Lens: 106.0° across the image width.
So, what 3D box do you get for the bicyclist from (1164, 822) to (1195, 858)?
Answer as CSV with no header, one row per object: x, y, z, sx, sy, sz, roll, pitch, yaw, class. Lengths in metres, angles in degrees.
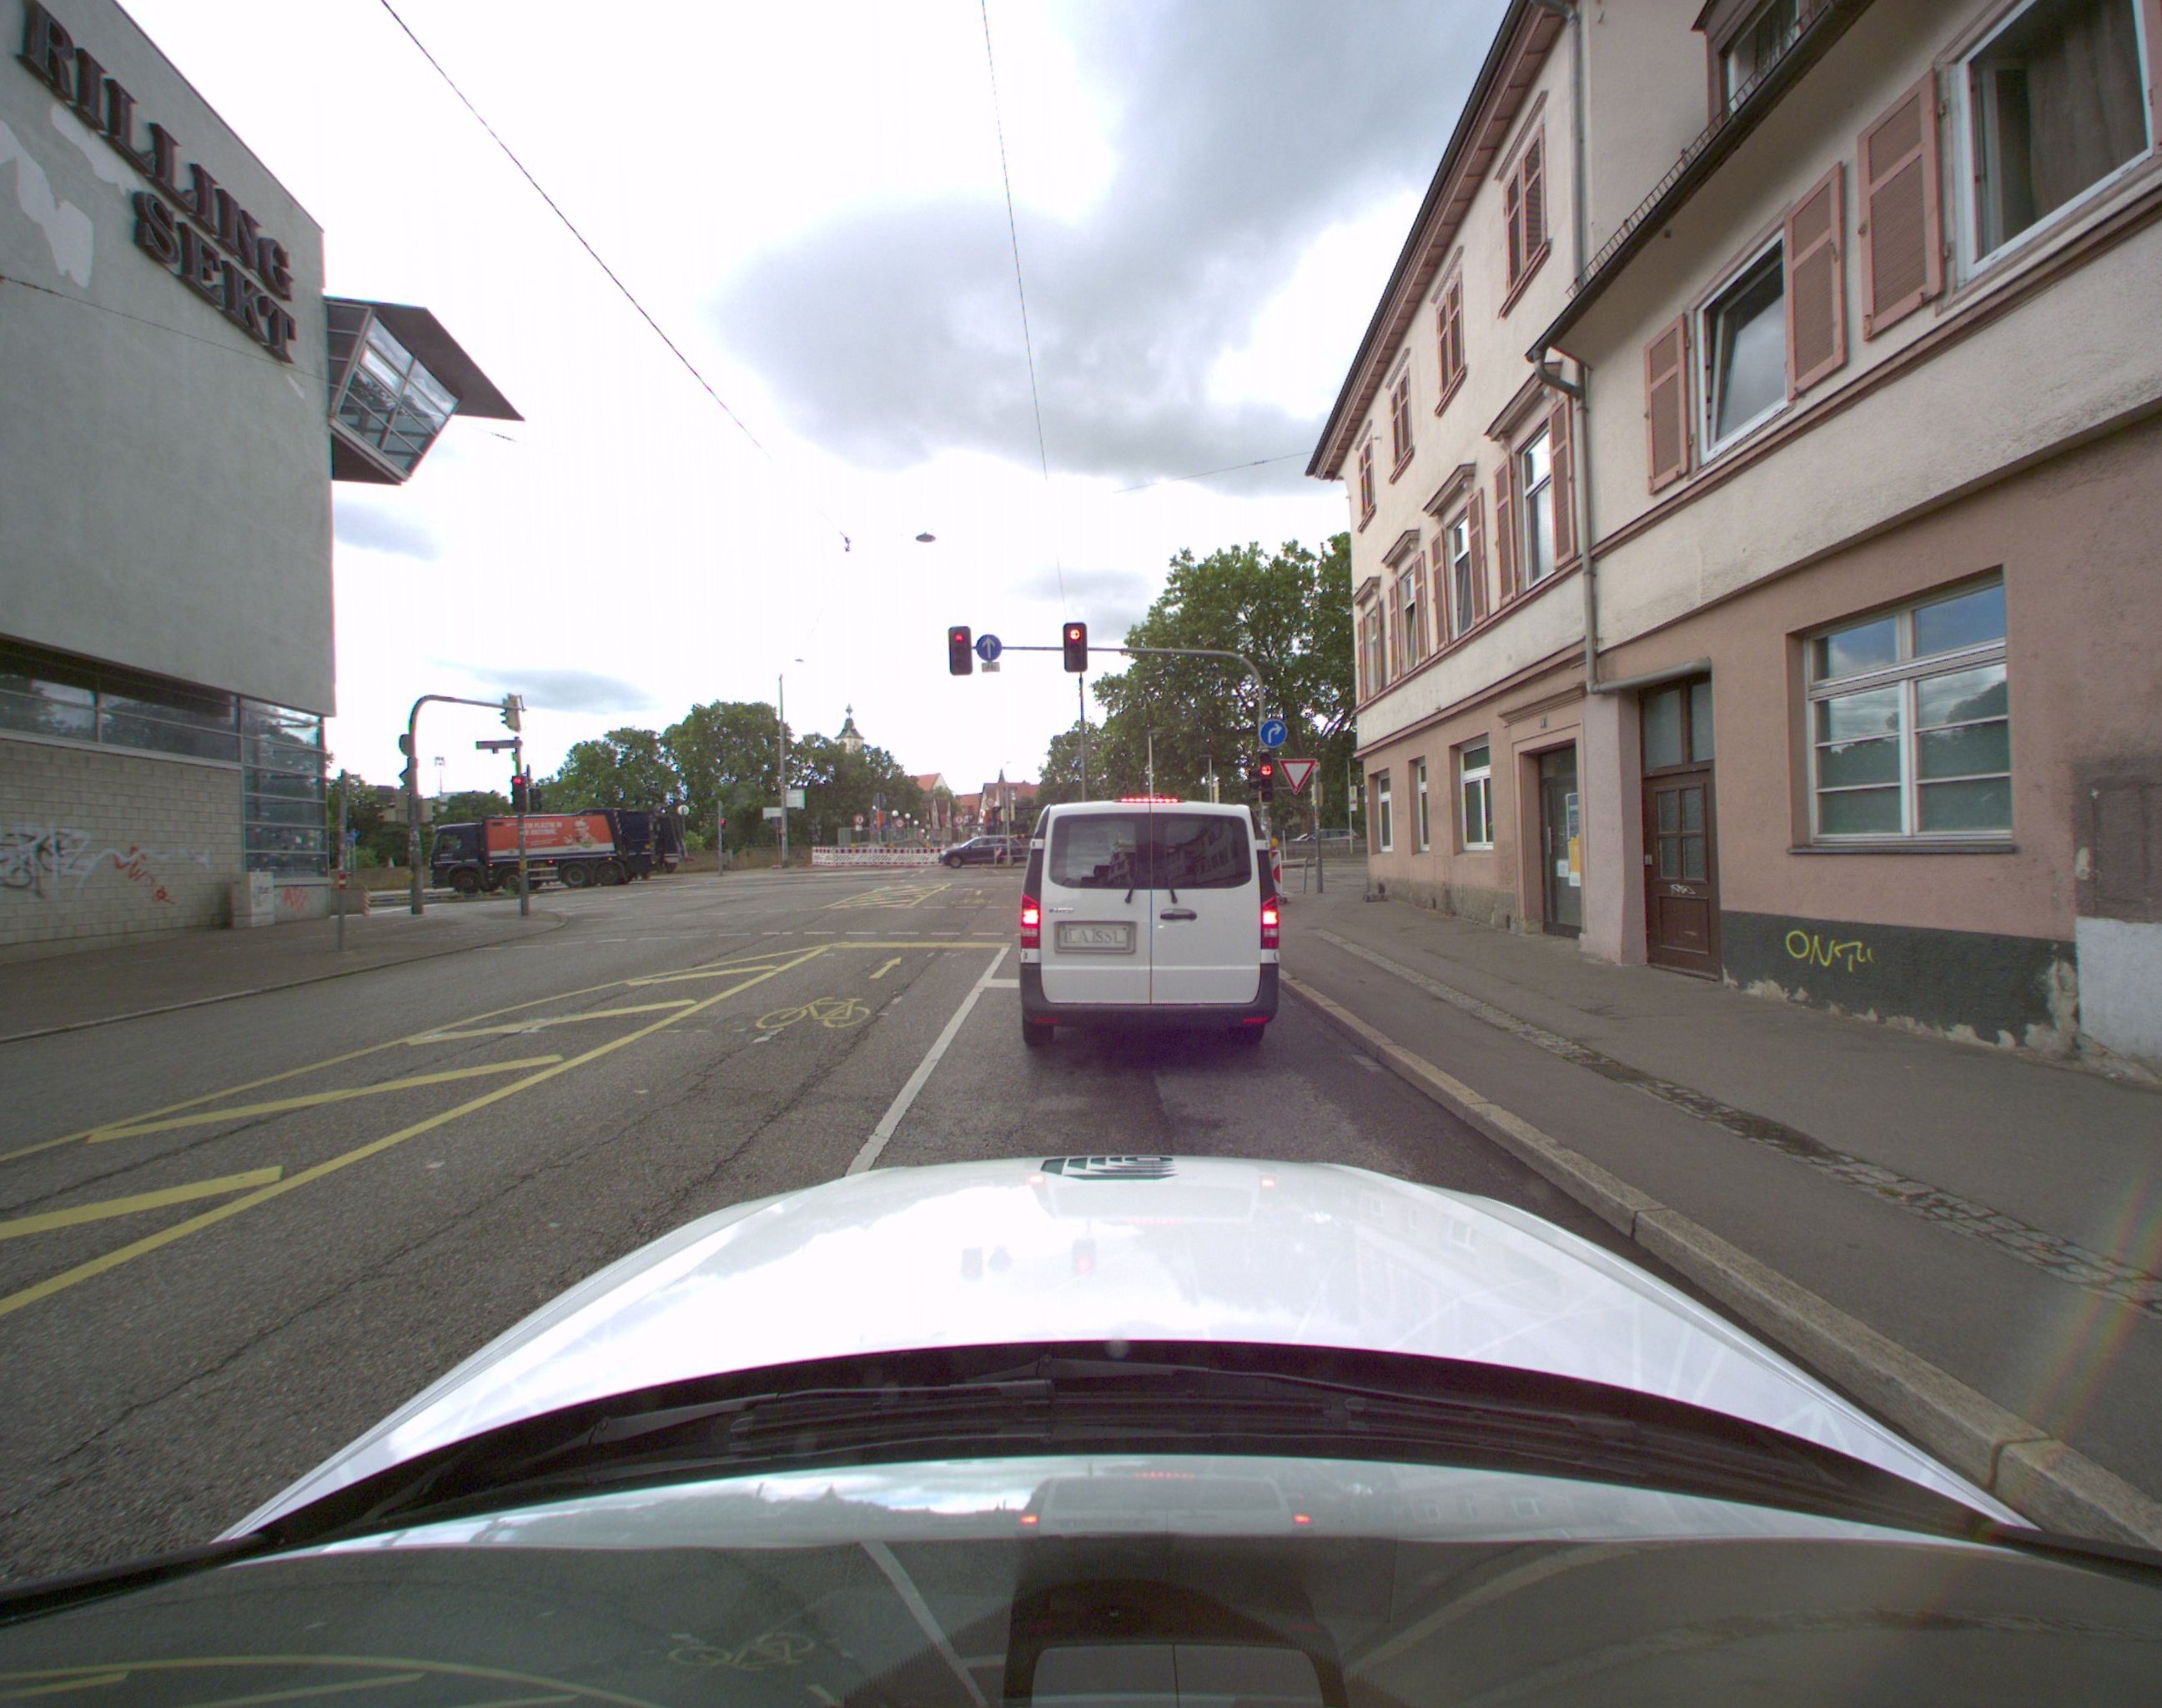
6.058,-0.862,50.136,1.565,2.156,1.242,-2,0,-12,bicyclist

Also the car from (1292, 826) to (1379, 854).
14.276,-0.763,45.799,4.275,1.452,1.894,-1,0,-10,car

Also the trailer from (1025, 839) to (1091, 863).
-1.234,-0.159,43.283,3.203,1.158,1.992,-2,0,-12,trailer

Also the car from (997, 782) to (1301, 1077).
0.474,0.434,7.479,1.987,1.922,4.249,-1,2,0,car

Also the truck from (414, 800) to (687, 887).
-24.026,-0.567,37.563,10.209,3.696,2.258,-1,0,-17,truck

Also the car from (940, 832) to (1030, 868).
-5.046,-0.214,42.491,4.521,1.634,1.993,-3,0,-11,car
